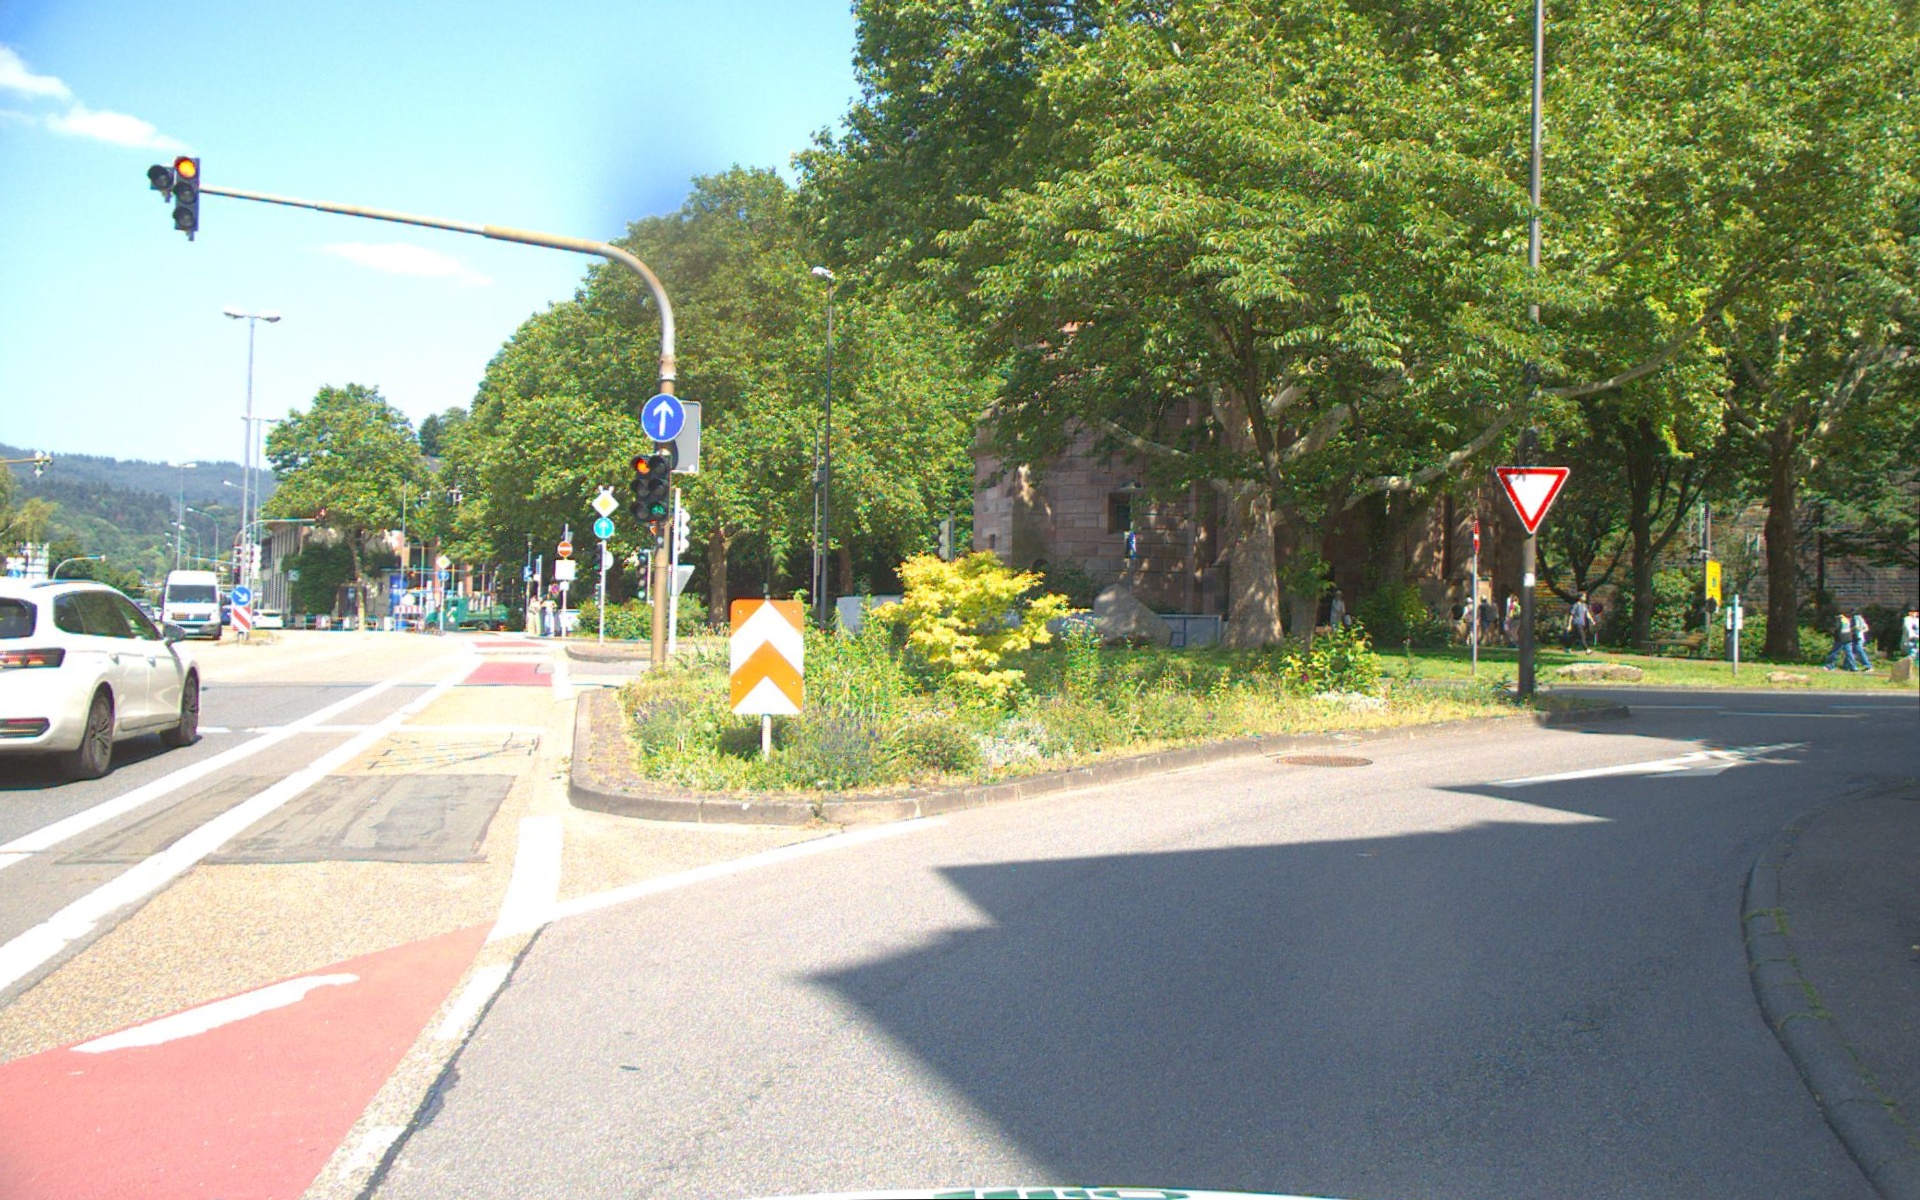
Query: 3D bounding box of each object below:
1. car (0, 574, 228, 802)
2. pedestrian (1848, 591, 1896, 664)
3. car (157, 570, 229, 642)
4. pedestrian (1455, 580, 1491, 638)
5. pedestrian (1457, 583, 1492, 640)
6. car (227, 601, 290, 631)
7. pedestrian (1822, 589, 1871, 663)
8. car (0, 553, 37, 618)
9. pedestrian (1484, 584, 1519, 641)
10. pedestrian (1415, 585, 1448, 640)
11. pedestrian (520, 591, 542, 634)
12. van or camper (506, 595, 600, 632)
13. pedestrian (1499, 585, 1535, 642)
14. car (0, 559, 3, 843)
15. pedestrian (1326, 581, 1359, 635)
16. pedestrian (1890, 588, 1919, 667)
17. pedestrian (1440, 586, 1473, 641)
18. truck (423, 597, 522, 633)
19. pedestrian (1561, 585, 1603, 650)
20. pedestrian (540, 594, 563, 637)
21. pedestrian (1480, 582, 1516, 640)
[{"bbox_3d":[-7.422,0.602,13.507,1.754,1.559,4.721,0,0,-13],"label":"car"},{"bbox_3d":[22.817,0.689,41.378,0.780,1.786,0.662,3,-1,-17],"label":"pedestrian"},{"bbox_3d":[-29.452,0.207,63.399,2.355,2.621,6.003,0,0,-26],"label":"car"},{"bbox_3d":[16.024,0.281,51.640,0.780,1.786,0.662,3,-1,-17],"label":"pedestrian"},{"bbox_3d":[16.535,0.379,53.204,0.780,1.786,0.662,3,-1,-17],"label":"pedestrian"},{"bbox_3d":[-49.027,1.121,115.632,3.907,2.049,1.942,0,0,24],"label":"car"},{"bbox_3d":[22.052,0.653,41.149,0.780,1.786,0.662,3,0,-17],"label":"pedestrian"},{"bbox_3d":[-32.825,-0.486,55.749,2.181,2.115,5.014,0,0,-20],"label":"car"},{"bbox_3d":[17.510,0.396,53.517,0.780,1.786,0.662,3,-1,-17],"label":"pedestrian"},{"bbox_3d":[15.675,0.418,54.984,0.780,1.786,0.662,3,-1,-17],"label":"pedestrian"},{"bbox_3d":[-17.274,0.498,66.616,0.746,1.749,0.794,0,0,-4],"label":"pedestrian"},{"bbox_3d":[-21.686,0.707,88.305,4.445,1.935,2.001,0,0,6],"label":"van or camper"},{"bbox_3d":[17.719,0.423,52.608,0.780,1.786,0.662,3,-1,-17],"label":"pedestrian"},{"bbox_3d":[-5.796,0.580,6.552,1.958,1.560,4.846,0,1,-11],"label":"car"},{"bbox_3d":[12.999,0.257,56.274,0.780,1.813,0.872,0,0,-17],"label":"pedestrian"},{"bbox_3d":[21.724,0.621,37.667,0.758,1.786,0.751,0,0,-41],"label":"pedestrian"},{"bbox_3d":[16.604,0.437,55.295,0.780,1.786,0.662,3,-1,-17],"label":"pedestrian"},{"bbox_3d":[-29.517,0.869,100.069,6.136,2.049,2.160,1,0,31],"label":"truck"},{"bbox_3d":[17.502,0.499,46.533,0.780,1.786,0.719,3,-1,-17],"label":"pedestrian"},{"bbox_3d":[-16.482,0.618,66.715,0.746,1.738,0.877,0,0,-4],"label":"pedestrian"},{"bbox_3d":[16.843,0.339,51.764,0.780,1.786,0.662,3,-1,-17],"label":"pedestrian"}]
